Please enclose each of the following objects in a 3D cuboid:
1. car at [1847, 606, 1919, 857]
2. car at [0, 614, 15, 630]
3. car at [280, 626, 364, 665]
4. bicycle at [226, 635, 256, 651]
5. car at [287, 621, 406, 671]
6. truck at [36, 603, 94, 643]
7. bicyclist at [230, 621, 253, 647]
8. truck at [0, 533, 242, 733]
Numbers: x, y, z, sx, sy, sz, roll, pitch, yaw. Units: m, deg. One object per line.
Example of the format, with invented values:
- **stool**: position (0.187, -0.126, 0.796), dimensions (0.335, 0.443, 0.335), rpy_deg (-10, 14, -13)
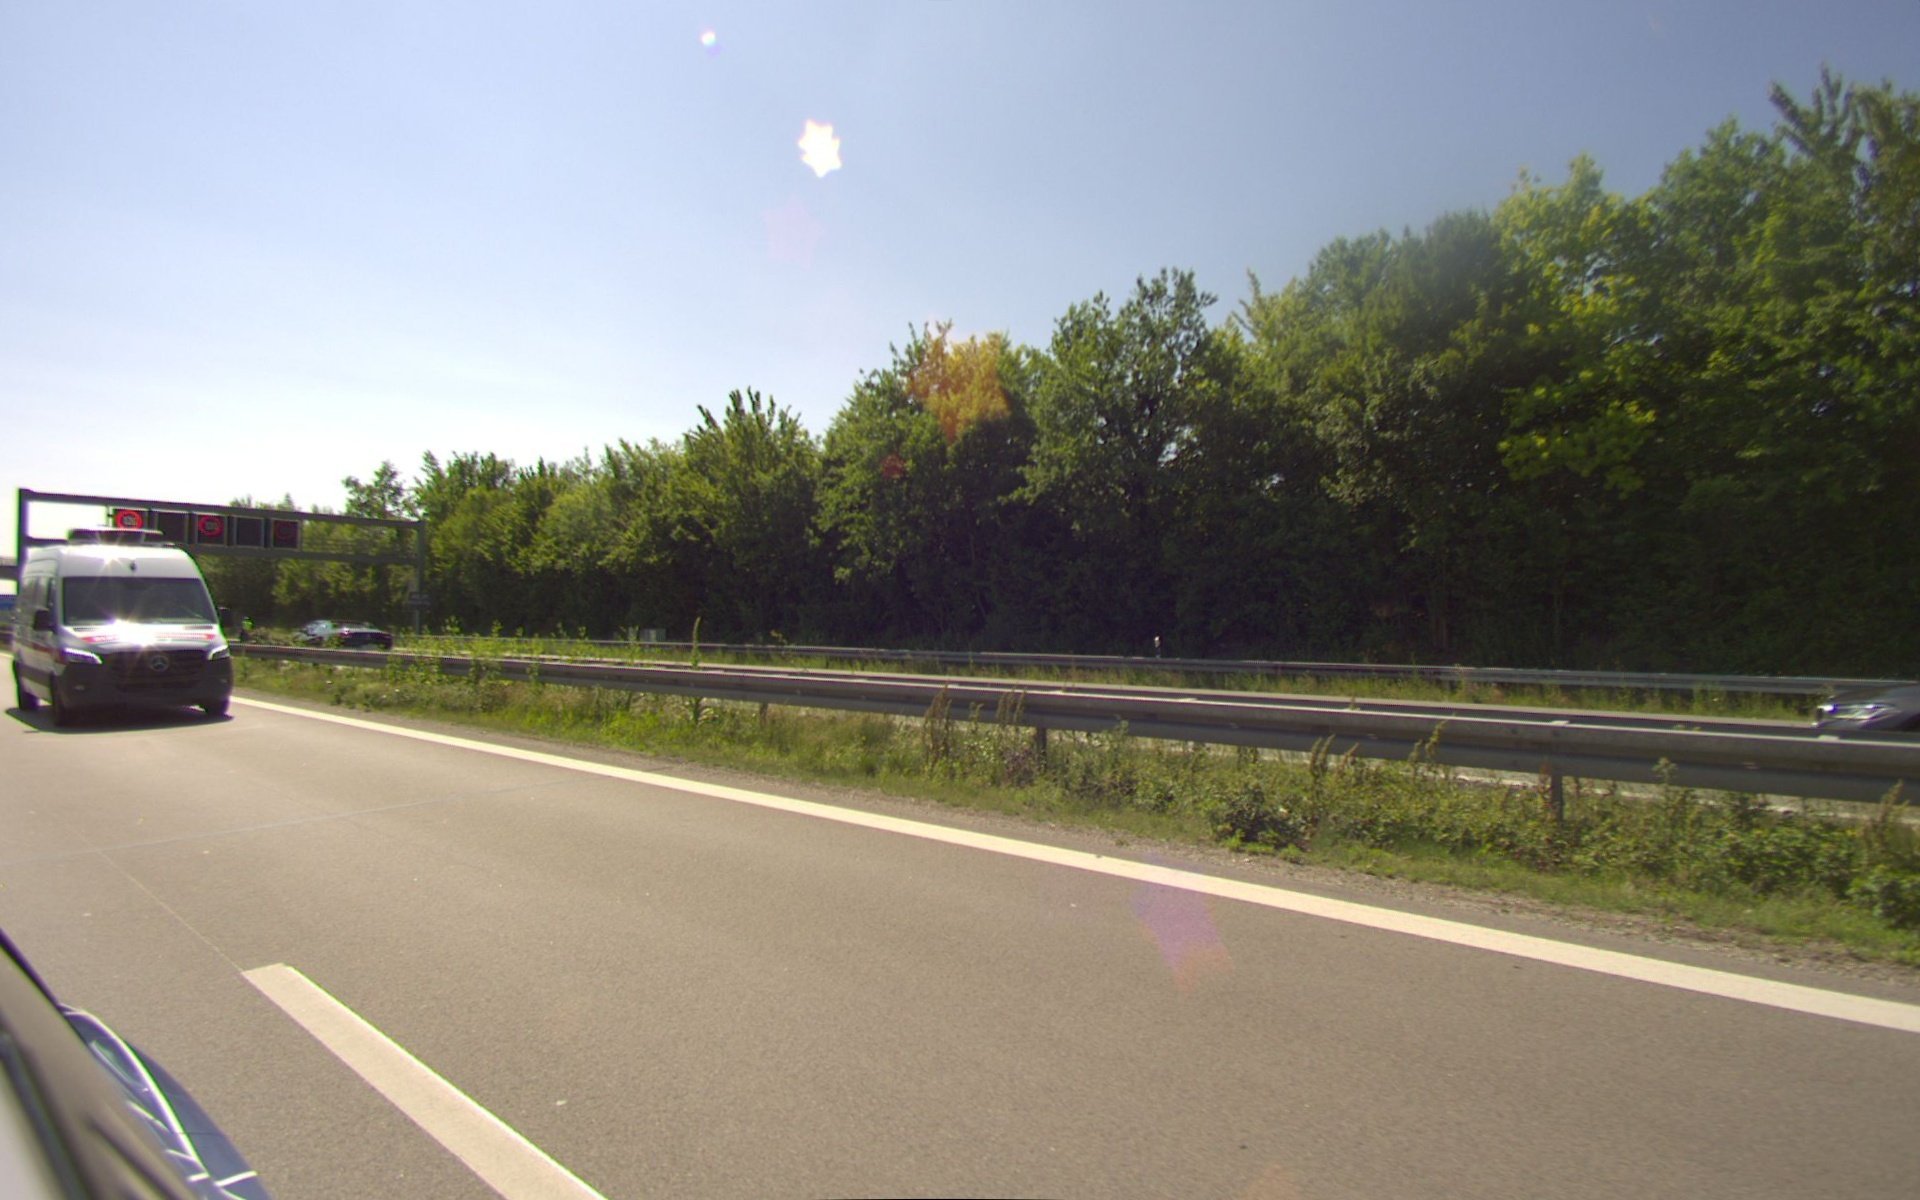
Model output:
- **car**: position (9.409, 0.973, 6.872), dimensions (5.015, 1.896, 1.672), rpy_deg (-1, -2, 41)
- **car**: position (-111.975, 2.587, 118.078), dimensions (5.124, 1.818, 1.973), rpy_deg (0, -1, 41)
- **car**: position (-27.759, 1.923, 43.987), dimensions (4.555, 1.597, 1.848), rpy_deg (-1, -2, 41)
- **bicycle**: position (-45.187, 2.691, 63.560), dimensions (2.732, 0.923, 0.892), rpy_deg (0, -1, 41)
- **car**: position (-19.855, 1.445, 32.682), dimensions (4.425, 1.532, 1.973), rpy_deg (-1, -2, 41)
- **truck**: position (-79.546, 1.977, 89.879), dimensions (8.053, 3.330, 2.750), rpy_deg (0, -1, 41)
- **bicyclist**: position (-45.020, 2.134, 63.390), dimensions (1.286, 1.588, 0.871), rpy_deg (0, -1, 41)
- **truck**: position (-13.449, 0.478, 15.929), dimensions (6.688, 2.561, 1.973), rpy_deg (-1, -1, 41)
